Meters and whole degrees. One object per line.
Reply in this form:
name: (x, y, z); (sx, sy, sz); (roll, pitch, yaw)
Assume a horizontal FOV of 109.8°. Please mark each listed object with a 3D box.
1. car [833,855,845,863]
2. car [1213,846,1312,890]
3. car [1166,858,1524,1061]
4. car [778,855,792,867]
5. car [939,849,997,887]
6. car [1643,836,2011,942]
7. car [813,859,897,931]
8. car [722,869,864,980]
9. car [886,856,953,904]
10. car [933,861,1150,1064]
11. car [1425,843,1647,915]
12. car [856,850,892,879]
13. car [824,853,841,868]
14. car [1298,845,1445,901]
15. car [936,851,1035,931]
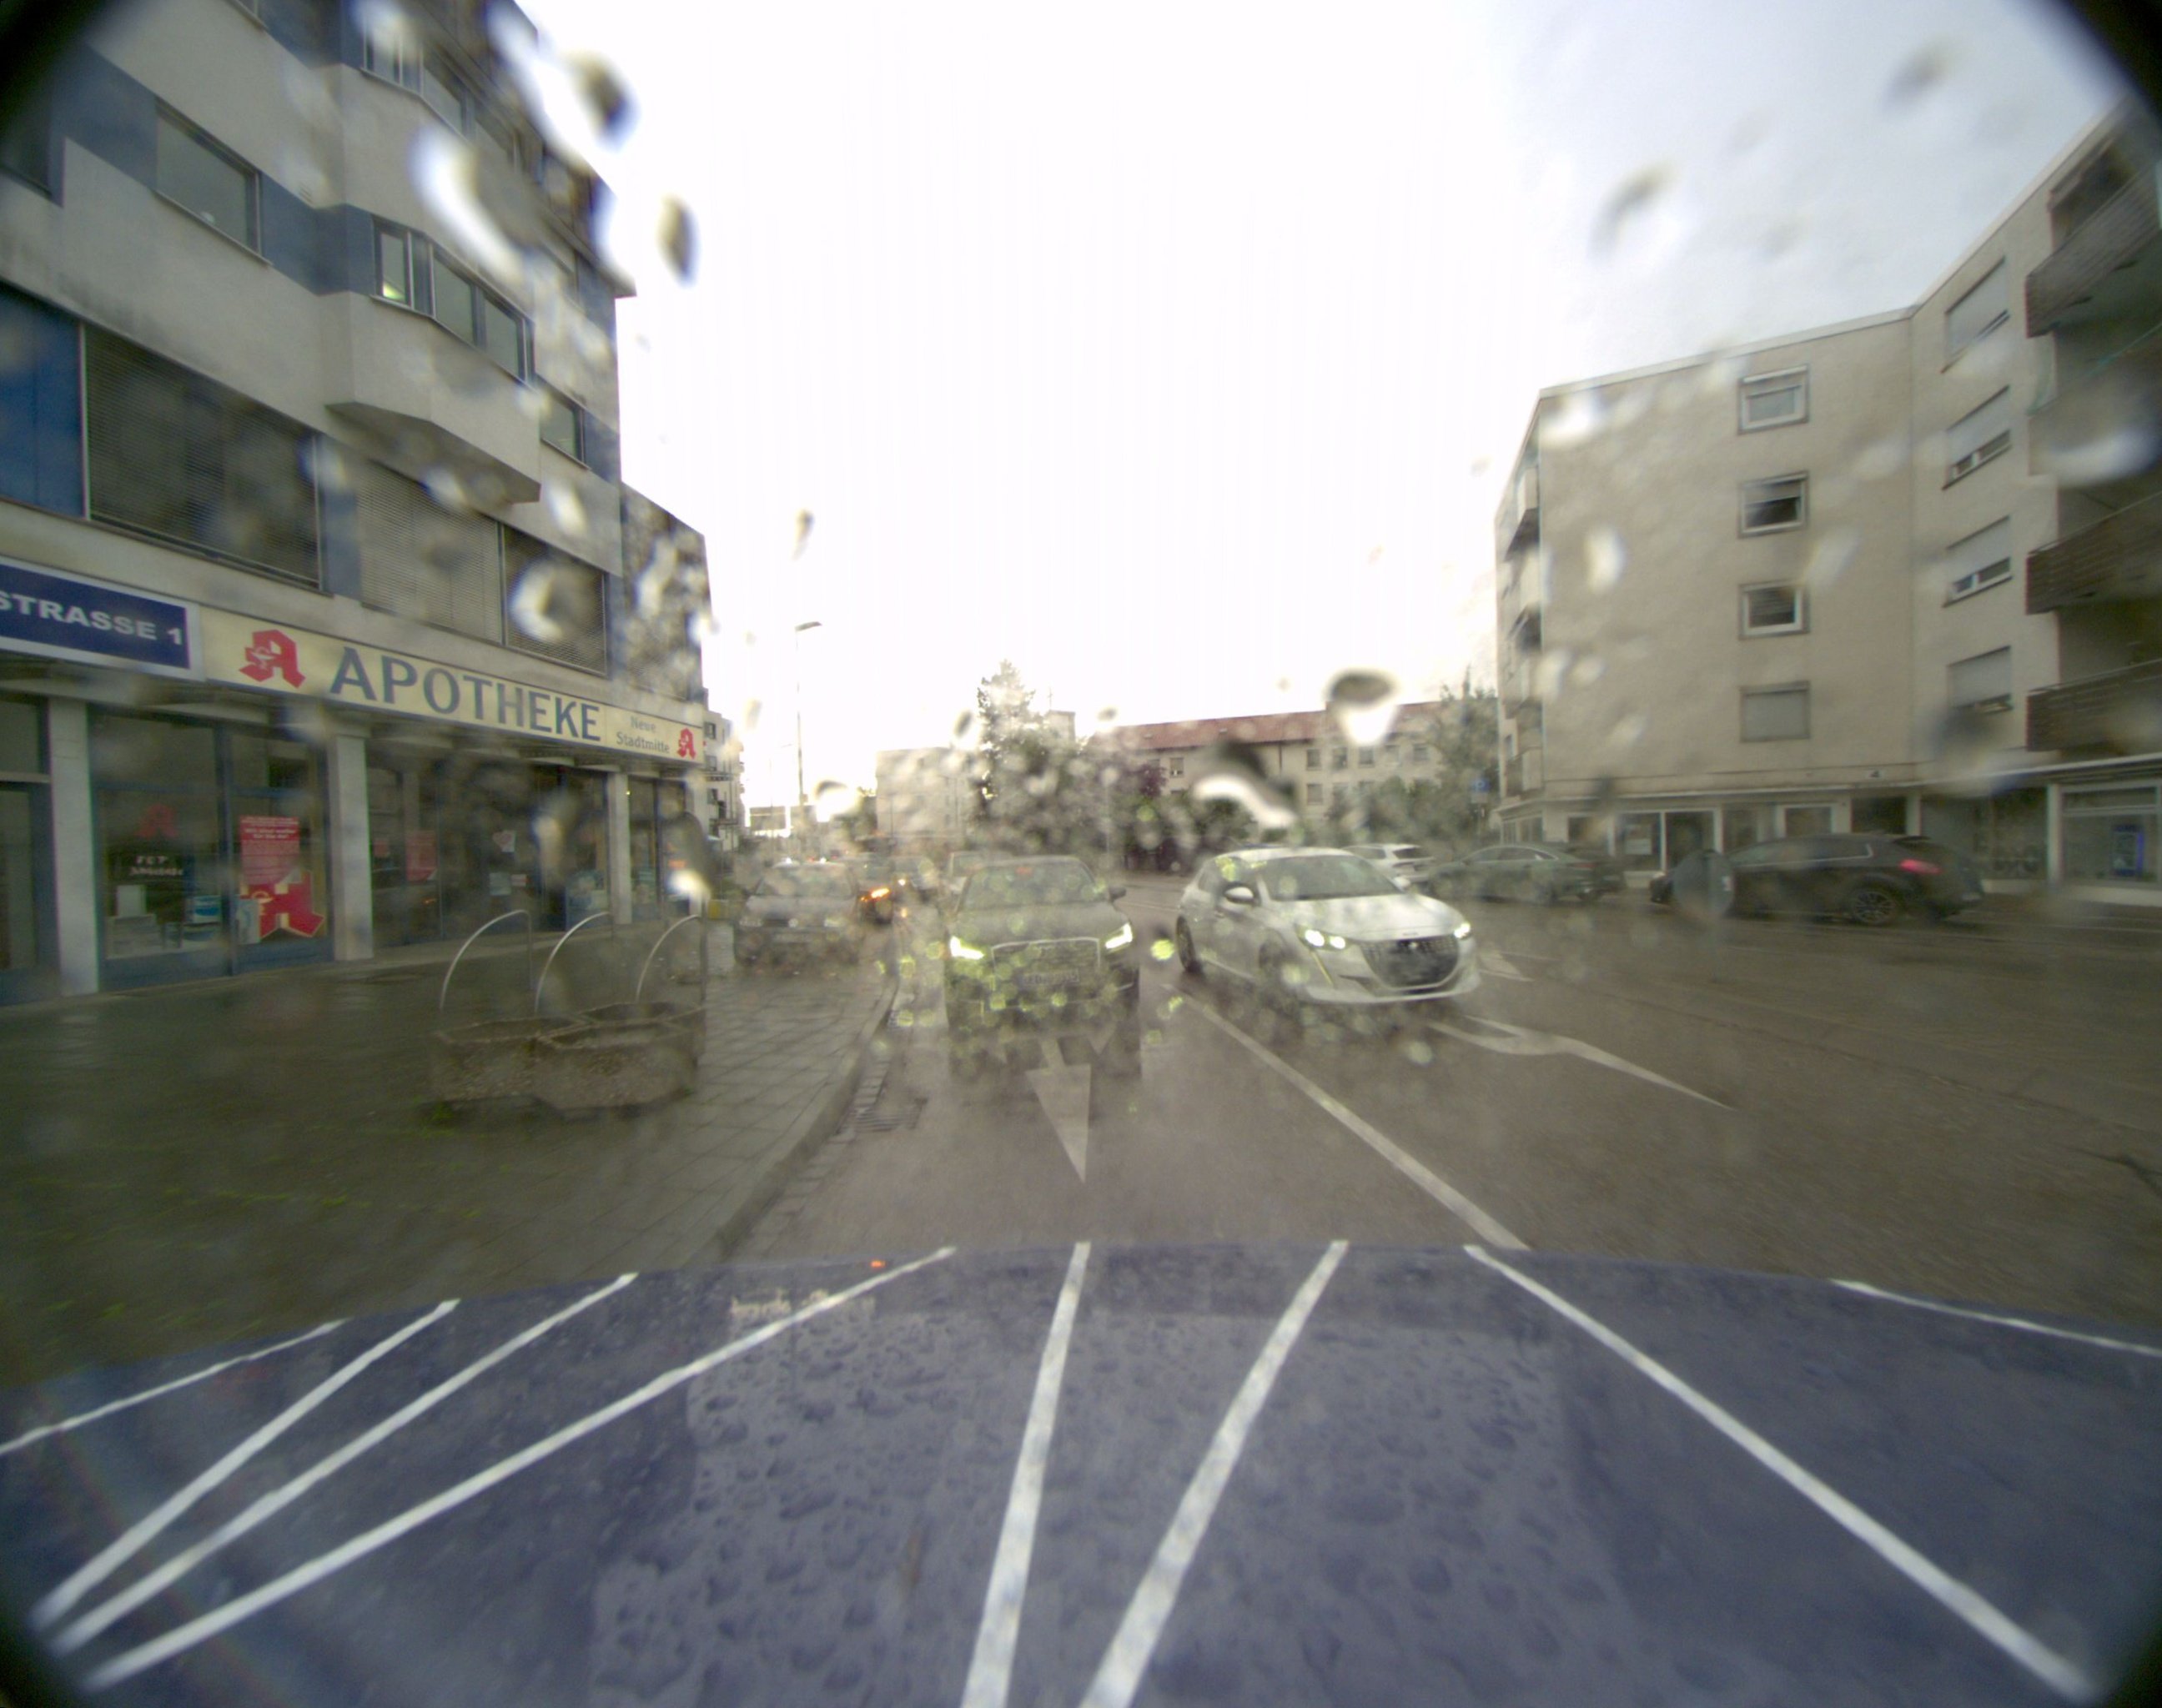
car: (-43.784, 0.876, 137.451); (1.874, 1.429, 3.733); (-2, 1, -22)
car: (6.652, 0.464, 28.287); (1.636, 1.497, 3.873); (-2, 1, -22)
car: (2.289, 0.805, 7.768); (1.744, 1.401, 3.892); (-3, 1, -10)
car: (-42.701, 0.979, 109.741); (1.747, 1.630, 3.992); (-2, 1, -23)
car: (-4.985, 0.548, 33.062); (1.753, 1.446, 3.806); (-2, 2, -20)
car: (12.624, 0.476, 13.241); (1.839, 1.451, 4.179); (-3, 2, -22)
car: (-5.261, 0.880, 18.017); (1.660, 1.416, 3.994); (-1, 1, -14)
car: (-4.332, 0.968, 11.922); (1.656, 1.364, 3.726); (1, 0, -14)
car: (-5.488, 0.799, 25.489); (1.803, 1.361, 3.966); (-2, 2, -17)
car: (-0.643, 0.887, 8.219); (1.735, 1.436, 4.042); (-2, 2, -10)
car: (10.674, 0.497, 18.203); (1.839, 1.426, 4.265); (-3, 2, -23)
car: (-13.063, 0.616, 48.108); (2.001, 1.606, 3.995); (-3, 1, -13)
car: (-29.095, 0.736, 88.988); (1.746, 1.630, 3.992); (-2, 1, -20)
car: (8.664, 0.486, 23.099); (1.639, 1.491, 4.337); (-2, 1, -23)
car: (-2.253, 0.723, 17.011); (1.735, 1.519, 4.058); (-2, 0, -13)
